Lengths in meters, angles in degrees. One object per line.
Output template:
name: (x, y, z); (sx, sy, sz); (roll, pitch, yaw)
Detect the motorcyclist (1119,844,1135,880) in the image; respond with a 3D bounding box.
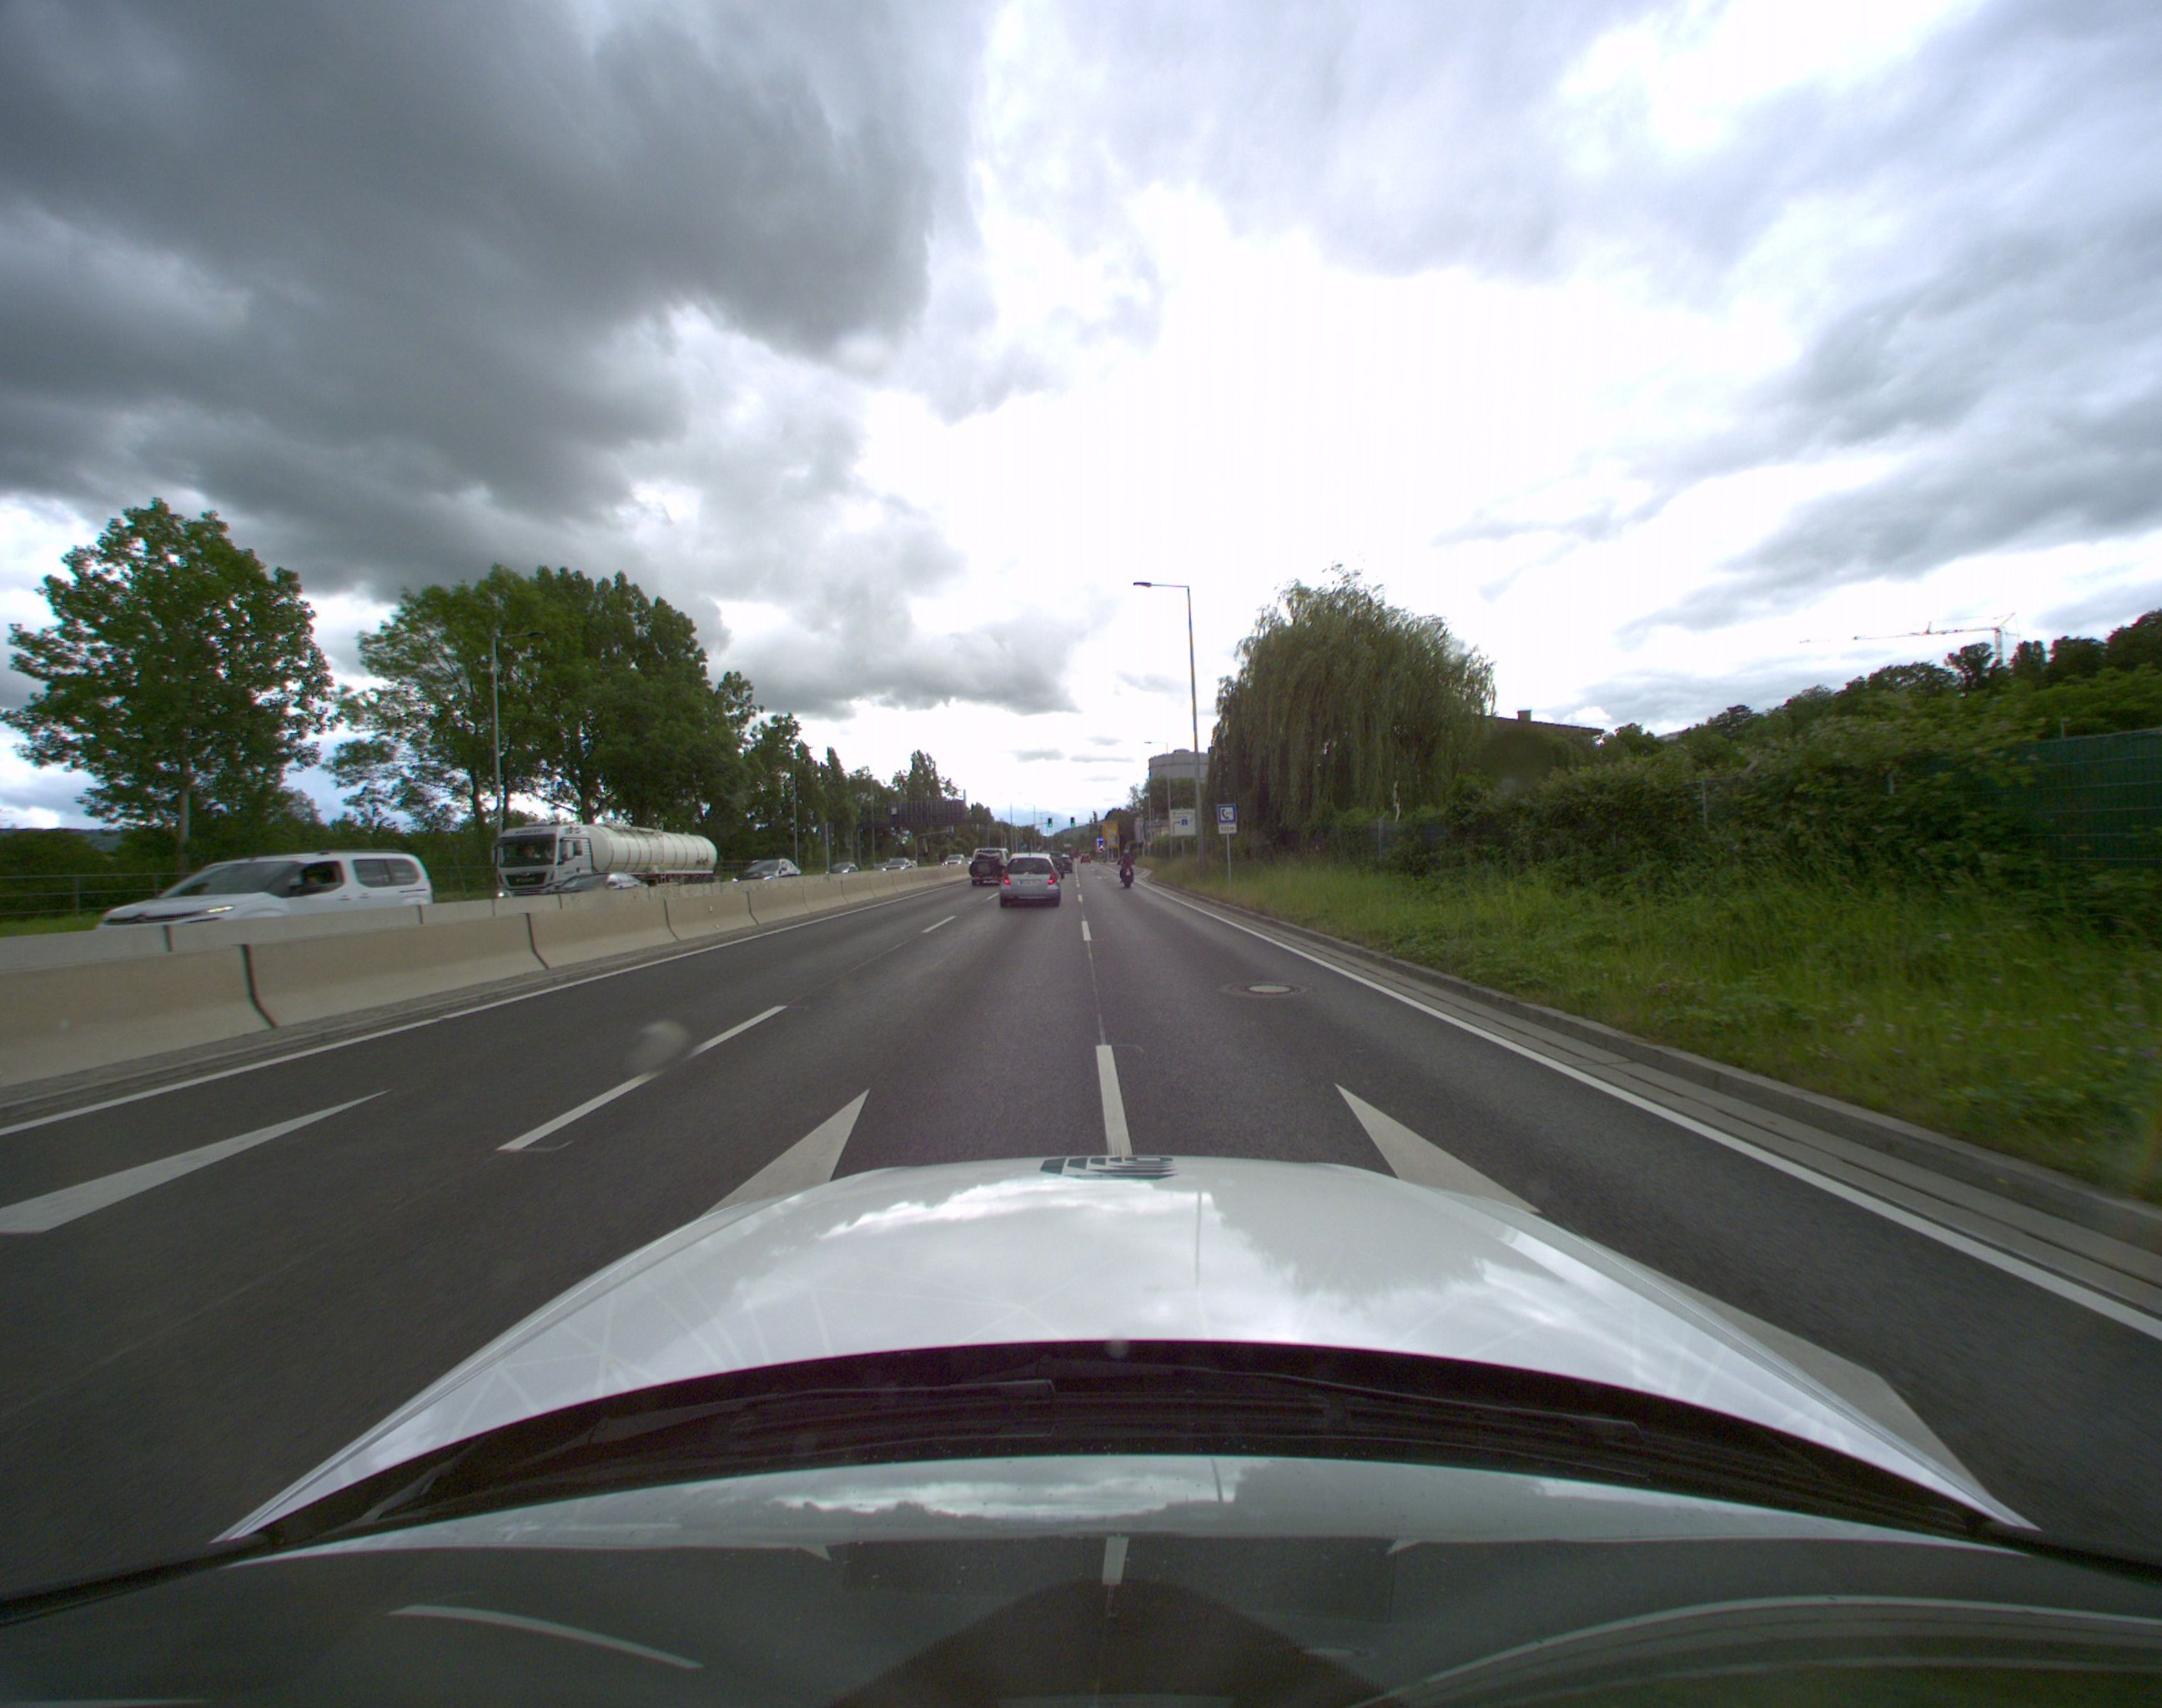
motorcyclist: (2.082, 0.369, 36.628); (0.682, 1.610, 0.845); (0, 0, 1)

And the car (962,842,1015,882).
car: (-4.708, 0.381, 42.114); (2.208, 1.925, 5.000); (0, 0, -1)

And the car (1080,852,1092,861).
car: (0.799, 0.397, 134.490); (1.988, 1.552, 3.998); (0, 0, -2)

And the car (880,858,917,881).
car: (-14.304, 1.181, 64.163); (1.987, 1.739, 4.000); (0, 0, 0)

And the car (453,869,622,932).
car: (-16.317, 1.322, 24.810); (1.987, 1.618, 4.696); (0, 0, 0)

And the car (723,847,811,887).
car: (-13.566, 0.510, 35.481); (1.987, 1.618, 4.696); (0, 0, 0)

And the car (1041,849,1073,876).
car: (-1.528, 0.519, 52.588); (1.901, 1.684, 4.000); (0, 0, 0)

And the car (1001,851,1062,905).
car: (-1.456, 0.675, 25.278); (1.705, 1.530, 3.999); (0, 0, -1)

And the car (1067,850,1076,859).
car: (-2.181, 0.137, 181.344); (1.987, 2.013, 4.000); (0, 0, 0)

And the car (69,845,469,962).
car: (-13.045, 0.673, 13.664); (1.987, 1.618, 4.696); (0, 0, 0)

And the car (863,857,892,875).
car: (-20.766, 1.178, 83.172); (1.987, 1.739, 4.000); (0, 0, 0)

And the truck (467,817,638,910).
truck: (-19.910, 0.311, 31.135); (3.090, 3.219, 5.388); (0, 0, -2)

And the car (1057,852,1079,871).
car: (-1.057, 0.583, 67.441); (1.834, 1.464, 3.999); (0, 0, -1)

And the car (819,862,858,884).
car: (-20.551, 1.617, 69.250); (1.987, 1.739, 4.303); (0, 0, 0)

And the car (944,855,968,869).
car: (-14.886, 0.955, 97.182); (1.986, 1.559, 4.888); (0, 0, 2)

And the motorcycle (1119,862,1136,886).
motorcycle: (2.083, 0.890, 36.664); (0.704, 1.040, 2.027); (0, 0, 1)

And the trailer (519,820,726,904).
trailer: (-20.071, 0.266, 36.980); (3.092, 3.220, 11.661); (0, 0, -2)
